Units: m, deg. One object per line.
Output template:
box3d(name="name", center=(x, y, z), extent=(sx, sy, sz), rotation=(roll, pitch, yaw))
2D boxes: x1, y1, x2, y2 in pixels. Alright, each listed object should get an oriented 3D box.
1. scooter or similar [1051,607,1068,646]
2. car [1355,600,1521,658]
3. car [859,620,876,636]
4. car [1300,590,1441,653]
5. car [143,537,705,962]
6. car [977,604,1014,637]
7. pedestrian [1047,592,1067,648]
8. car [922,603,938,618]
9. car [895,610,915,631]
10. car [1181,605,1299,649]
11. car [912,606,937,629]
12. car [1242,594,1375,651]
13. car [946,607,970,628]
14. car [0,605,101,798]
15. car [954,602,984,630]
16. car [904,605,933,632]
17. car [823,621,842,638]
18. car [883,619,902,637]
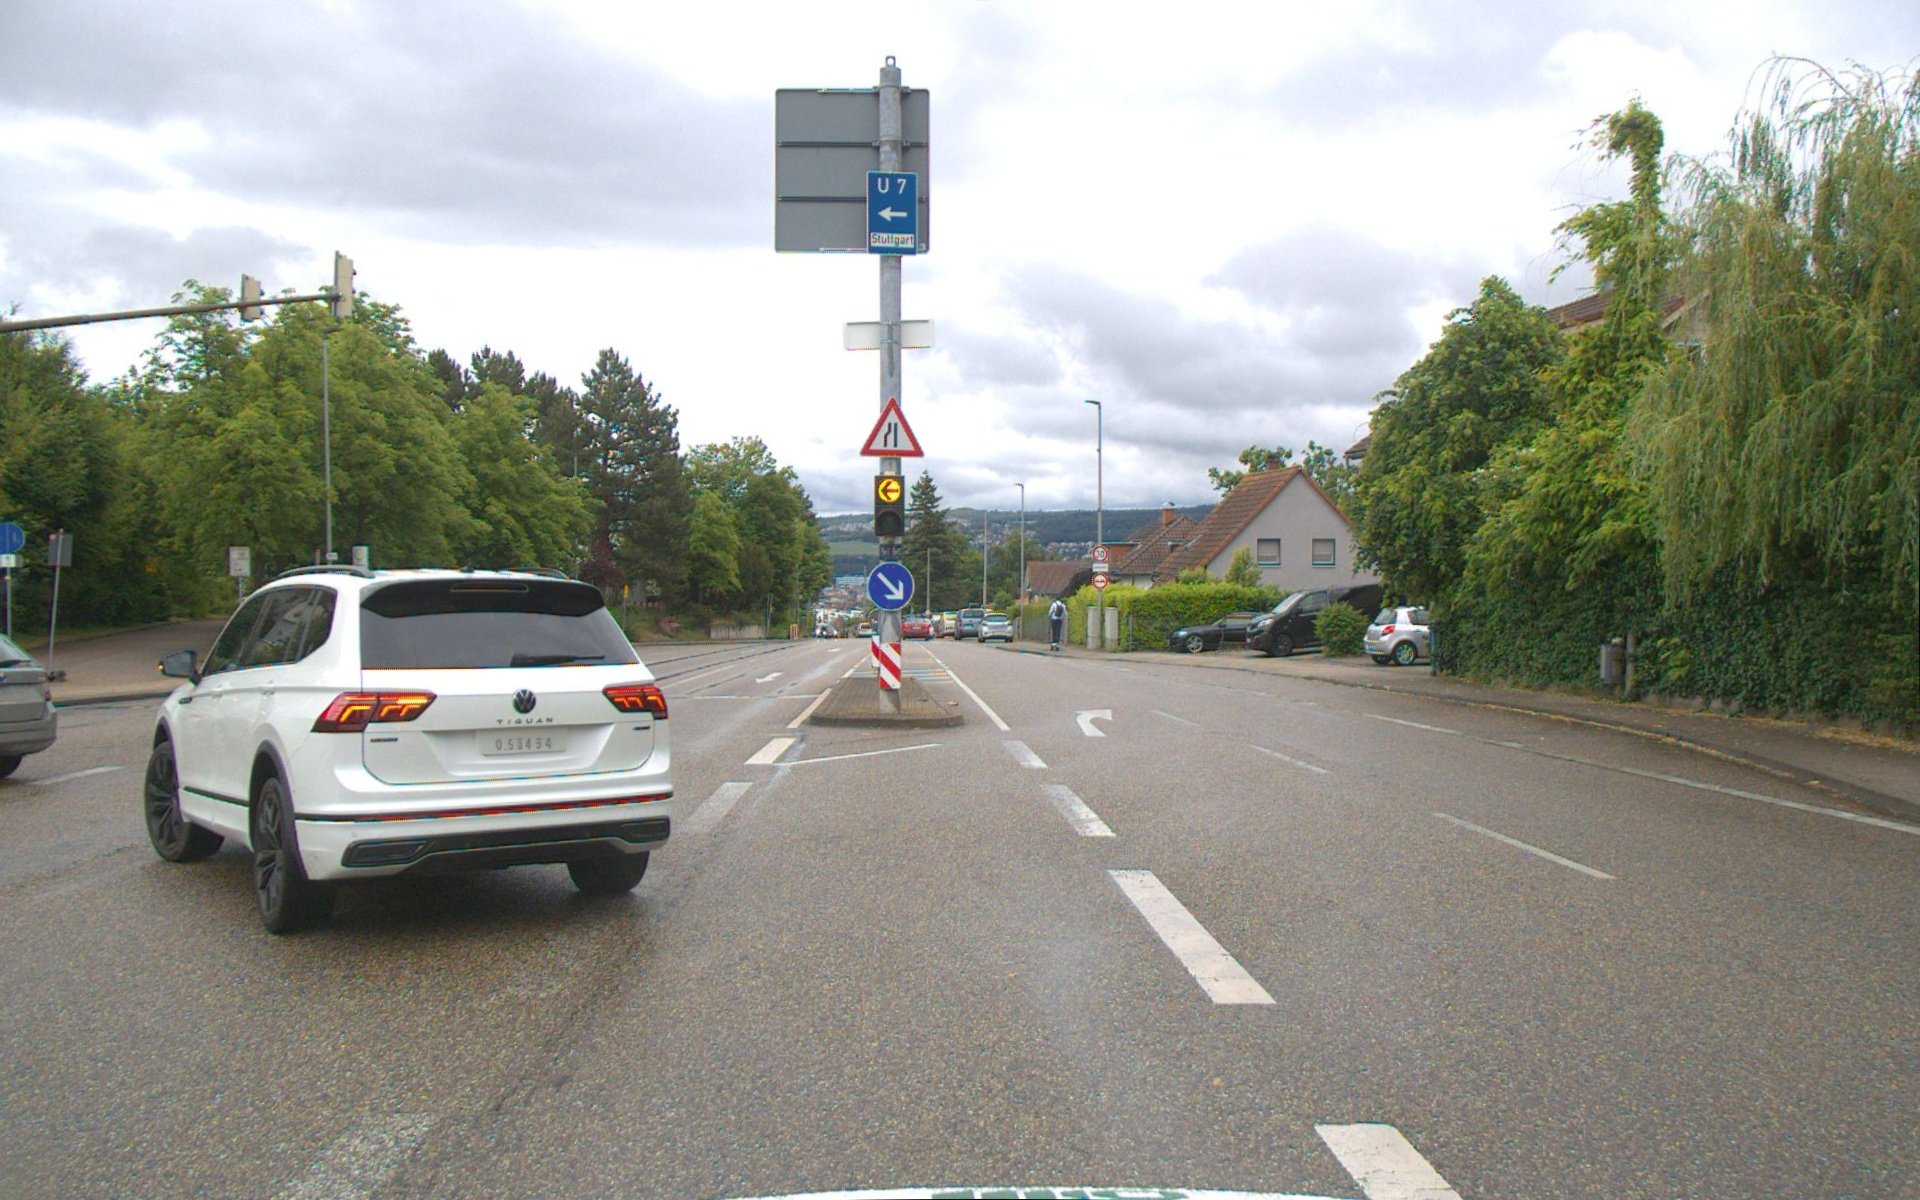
box3d(name="scooter or similar", center=(3.669, 0.974, 61.226), extent=(0.452, 1.385, 1.383), rotation=(0, 0, -4))
box3d(name="car", center=(12.044, 0.728, 41.756), extent=(3.644, 1.420, 1.725), rotation=(0, -1, -8))
box3d(name="car", center=(-11.051, 3.314, 197.265), extent=(1.849, 1.825, 3.999), rotation=(0, 0, -2))
box3d(name="car", center=(11.652, 0.598, 47.103), extent=(3.556, 1.777, 1.706), rotation=(0, 0, -5))
box3d(name="car", center=(-3.114, 0.600, 8.977), extent=(1.748, 1.725, 4.219), rotation=(0, 0, -35))
box3d(name="car", center=(1.856, 1.054, 86.867), extent=(1.813, 1.602, 4.000), rotation=(1, 0, -1))
box3d(name="pedestrian", center=(3.588, 0.732, 61.132), extent=(0.642, 2.037, 0.717), rotation=(0, 0, -4))
box3d(name="car", center=(-3.381, 1.147, 186.944), extent=(1.813, 1.602, 4.000), rotation=(0, 0, -1))
box3d(name="car", center=(-4.874, 1.838, 146.972), extent=(1.761, 1.814, 3.999), rotation=(0, 0, -1))
box3d(name="car", center=(9.193, 0.894, 54.460), extent=(3.613, 1.394, 1.518), rotation=(1, -2, -3))
box3d(name="car", center=(-2.472, 1.215, 116.523), extent=(1.703, 1.602, 4.000), rotation=(0, 0, -1))
box3d(name="car", center=(10.387, 0.652, 49.426), extent=(3.556, 1.654, 1.789), rotation=(0, 0, -5))
box3d(name="car", center=(-0.180, 1.369, 130.046), extent=(1.813, 1.602, 4.000), rotation=(0, 0, -1))
box3d(name="car", center=(-9.846, 0.861, 14.640), extent=(3.831, 1.617, 1.805), rotation=(0, 0, 18))
box3d(name="car", center=(0.540, 0.987, 105.351), extent=(1.813, 1.601, 4.000), rotation=(1, 1, -1))
box3d(name="car", center=(-2.568, 1.147, 103.377), extent=(1.719, 1.602, 4.000), rotation=(0, 0, -1))
box3d(name="car", center=(-13.885, 3.188, 180.454), extent=(1.807, 1.747, 4.000), rotation=(0, 0, 0))
box3d(name="car", center=(-6.866, 2.837, 168.609), extent=(1.848, 1.825, 4.000), rotation=(0, 0, -1))
